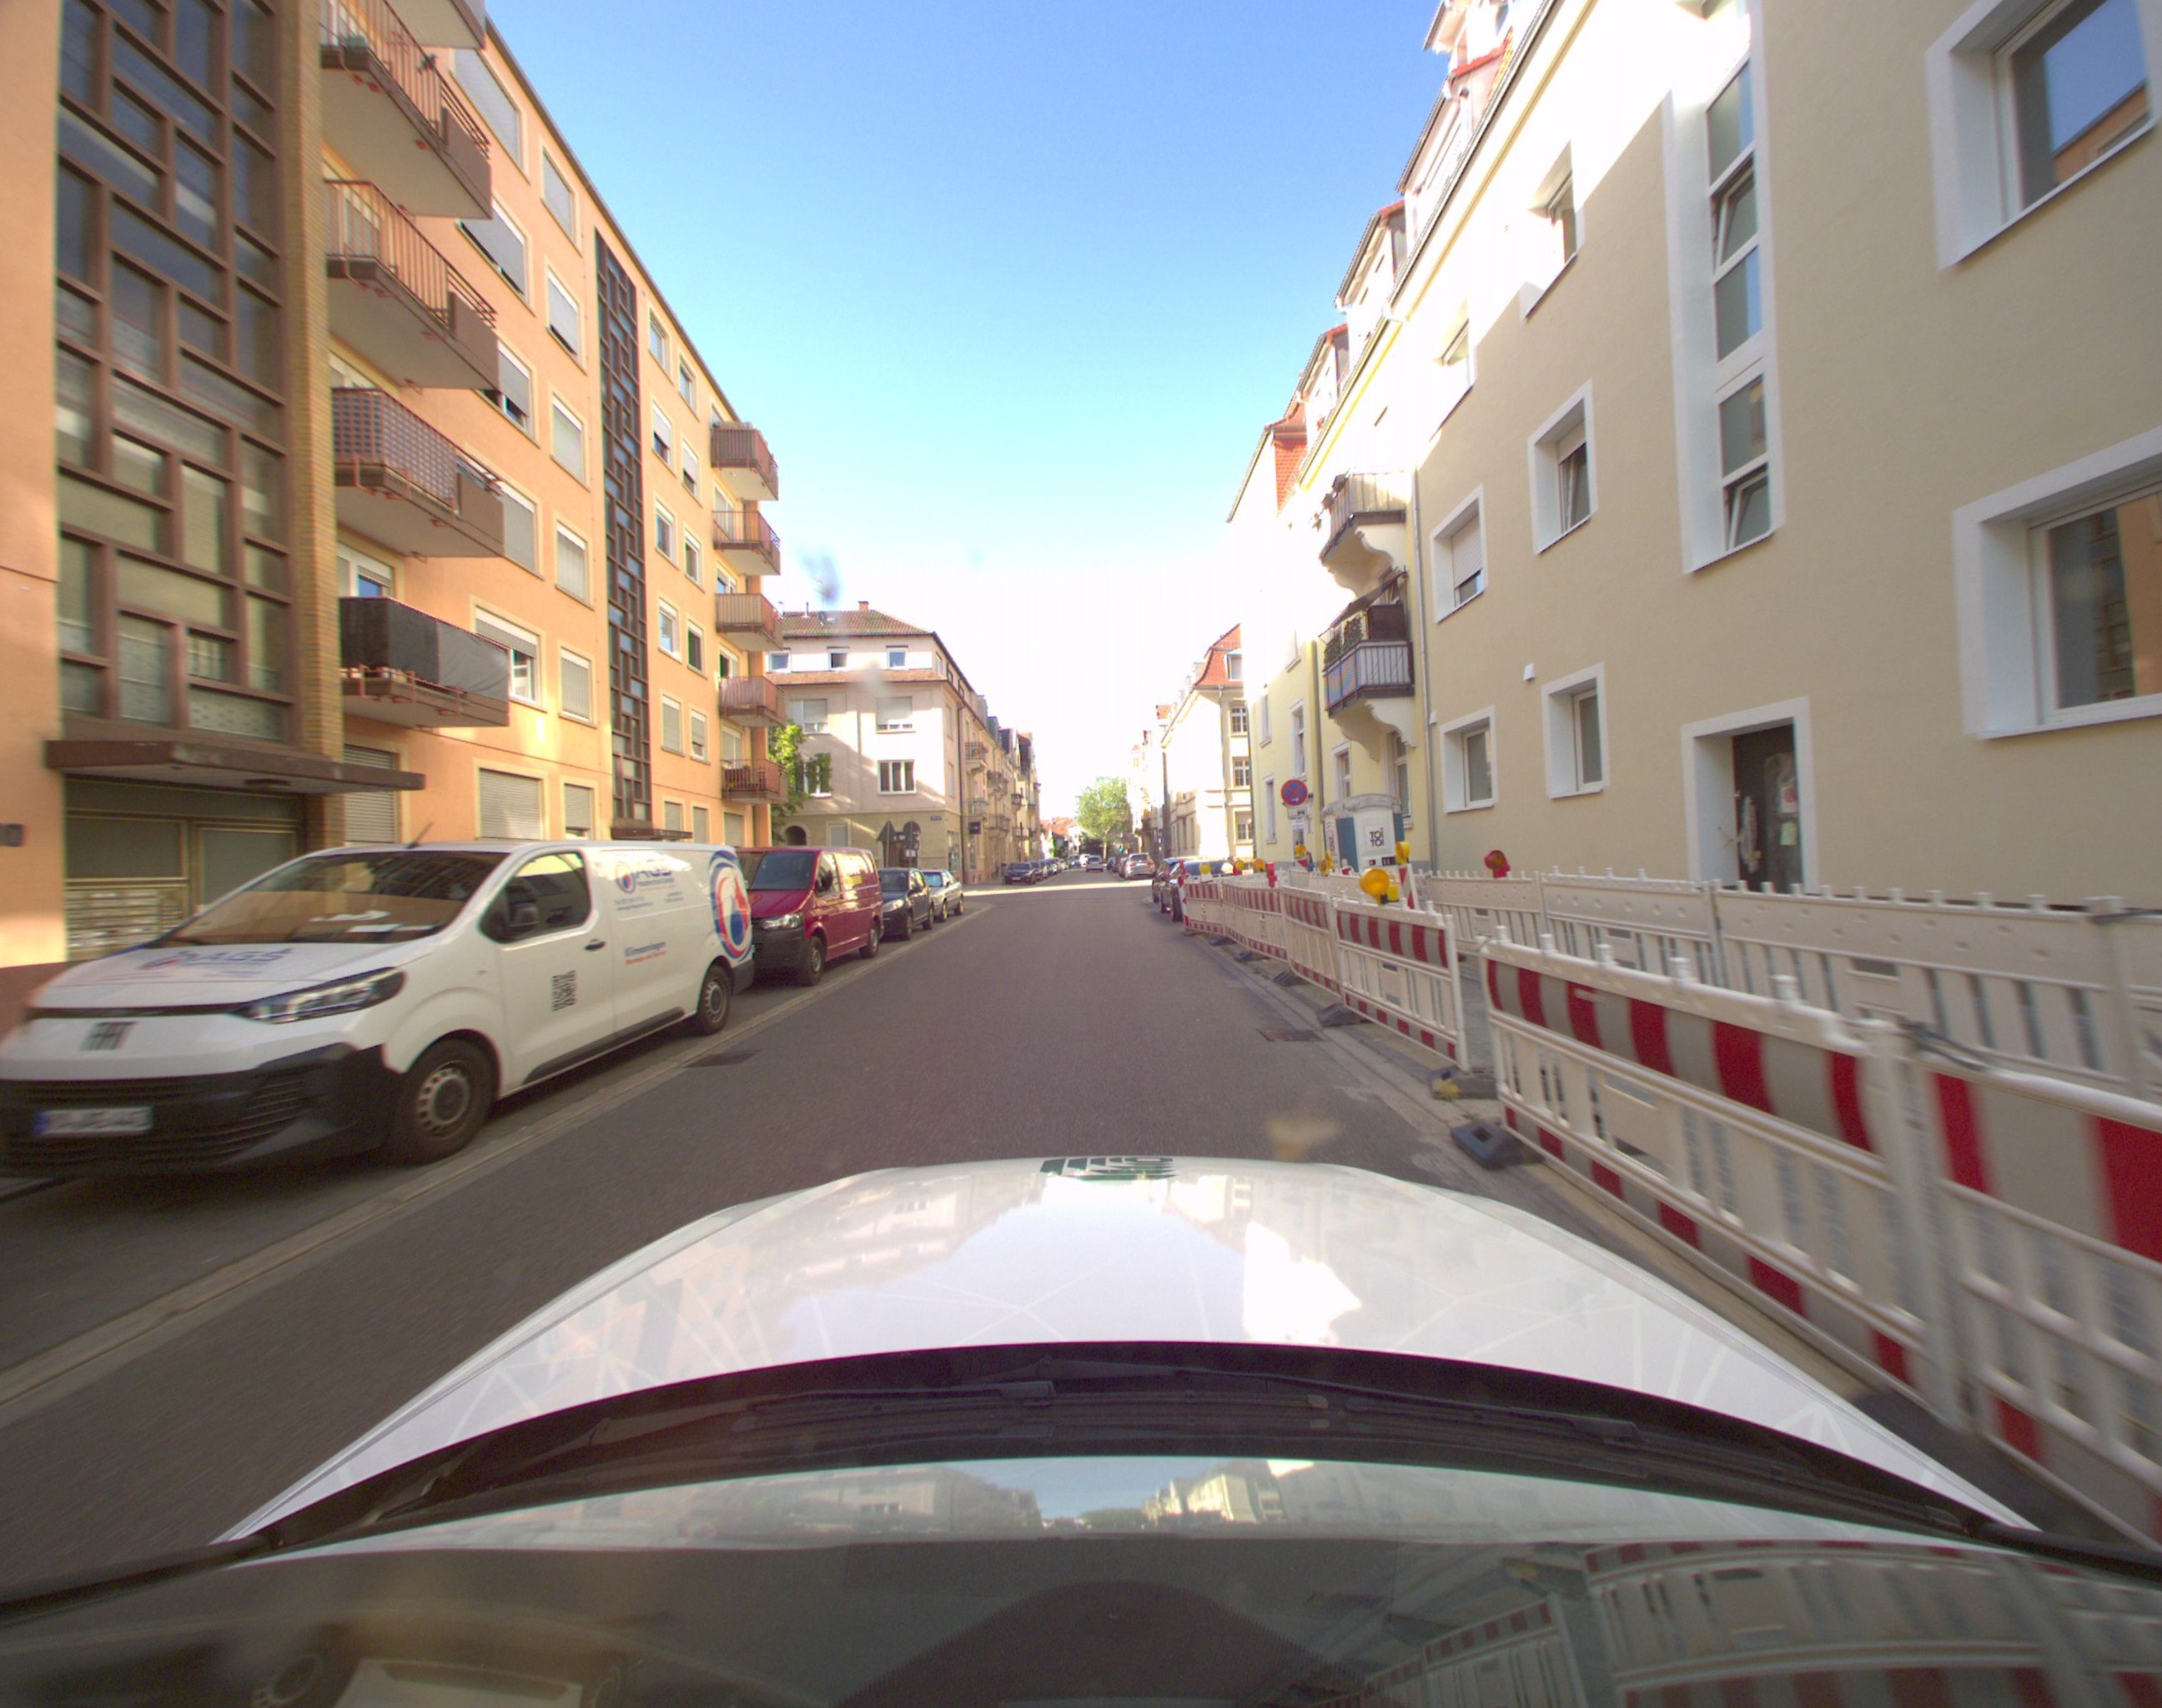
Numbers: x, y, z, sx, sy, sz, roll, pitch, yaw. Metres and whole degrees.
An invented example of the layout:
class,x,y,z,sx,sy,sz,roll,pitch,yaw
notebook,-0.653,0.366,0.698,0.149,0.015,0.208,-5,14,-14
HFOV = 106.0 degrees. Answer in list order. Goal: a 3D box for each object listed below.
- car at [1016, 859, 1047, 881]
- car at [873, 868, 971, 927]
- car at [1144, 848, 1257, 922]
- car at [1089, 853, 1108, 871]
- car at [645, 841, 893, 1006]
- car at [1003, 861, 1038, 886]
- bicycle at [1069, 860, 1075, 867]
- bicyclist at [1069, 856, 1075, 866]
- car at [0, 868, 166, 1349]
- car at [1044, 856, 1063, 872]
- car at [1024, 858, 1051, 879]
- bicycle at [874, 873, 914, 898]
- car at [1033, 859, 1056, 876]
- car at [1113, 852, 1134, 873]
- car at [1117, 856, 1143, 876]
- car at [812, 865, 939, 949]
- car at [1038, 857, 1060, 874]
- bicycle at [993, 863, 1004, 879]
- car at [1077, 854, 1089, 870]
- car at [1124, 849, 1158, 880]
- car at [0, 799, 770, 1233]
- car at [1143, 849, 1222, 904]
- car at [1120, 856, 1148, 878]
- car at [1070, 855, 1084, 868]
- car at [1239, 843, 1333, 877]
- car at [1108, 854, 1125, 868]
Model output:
class,x,y,z,sx,sy,sz,roll,pitch,yaw
car,-3.699,1.208,61.684,1.997,1.582,4.486,-2,-1,0
car,-4.398,1.155,23.167,1.756,1.377,4.479,-2,0,1
car,2.893,0.712,20.860,1.797,1.470,5.106,-6,0,-3
car,1.899,0.897,89.327,1.997,1.914,4.487,-2,-1,0
car,-4.383,0.856,12.430,1.757,1.925,4.934,-3,0,0
car,-3.741,1.211,51.213,1.673,1.426,4.276,-2,-1,2
bicycle,-1.260,1.366,116.415,0.660,1.019,2.066,-6,-1,0
bicyclist,-1.288,0.942,116.435,0.660,1.385,0.753,-6,-1,-1
car,-4.583,0.910,1.093,1.757,1.621,4.294,-3,0,0
car,-3.134,1.146,94.004,1.997,1.788,4.486,-2,-1,0
car,-3.622,1.232,68.834,1.997,1.619,4.486,-2,-1,0
bicycle,-9.815,1.668,42.765,1.893,1.135,0.526,-4,1,-2
car,-3.439,1.287,78.127,1.972,1.482,4.327,-2,-1,0
car,4.133,0.835,79.783,1.832,1.787,4.029,-4,-2,1
car,4.012,1.048,66.983,1.832,1.431,4.029,-5,-2,1
car,-4.404,1.067,18.086,1.757,1.502,3.998,-3,0,-1
car,-3.203,1.158,82.926,1.997,1.619,4.486,-2,-1,0
bicycle,-6.769,1.384,66.994,0.539,1.301,1.867,-3,0,2
car,0.414,1.481,147.256,1.832,2.534,4.176,-5,-2,1
car,3.677,0.686,50.728,1.906,1.644,4.776,-5,-2,3
car,-4.523,0.767,6.434,1.969,1.925,5.309,-3,0,0
car,3.179,0.679,26.288,1.759,1.470,4.080,-6,0,-3
car,3.993,0.981,61.593,1.832,1.431,4.029,-5,-2,1
car,-0.592,1.154,124.935,1.997,2.000,4.486,-2,-1,0
car,11.011,0.327,43.881,4.532,1.468,1.824,-4,-2,-7
car,4.305,0.905,98.615,1.832,1.431,4.029,-5,-2,1
